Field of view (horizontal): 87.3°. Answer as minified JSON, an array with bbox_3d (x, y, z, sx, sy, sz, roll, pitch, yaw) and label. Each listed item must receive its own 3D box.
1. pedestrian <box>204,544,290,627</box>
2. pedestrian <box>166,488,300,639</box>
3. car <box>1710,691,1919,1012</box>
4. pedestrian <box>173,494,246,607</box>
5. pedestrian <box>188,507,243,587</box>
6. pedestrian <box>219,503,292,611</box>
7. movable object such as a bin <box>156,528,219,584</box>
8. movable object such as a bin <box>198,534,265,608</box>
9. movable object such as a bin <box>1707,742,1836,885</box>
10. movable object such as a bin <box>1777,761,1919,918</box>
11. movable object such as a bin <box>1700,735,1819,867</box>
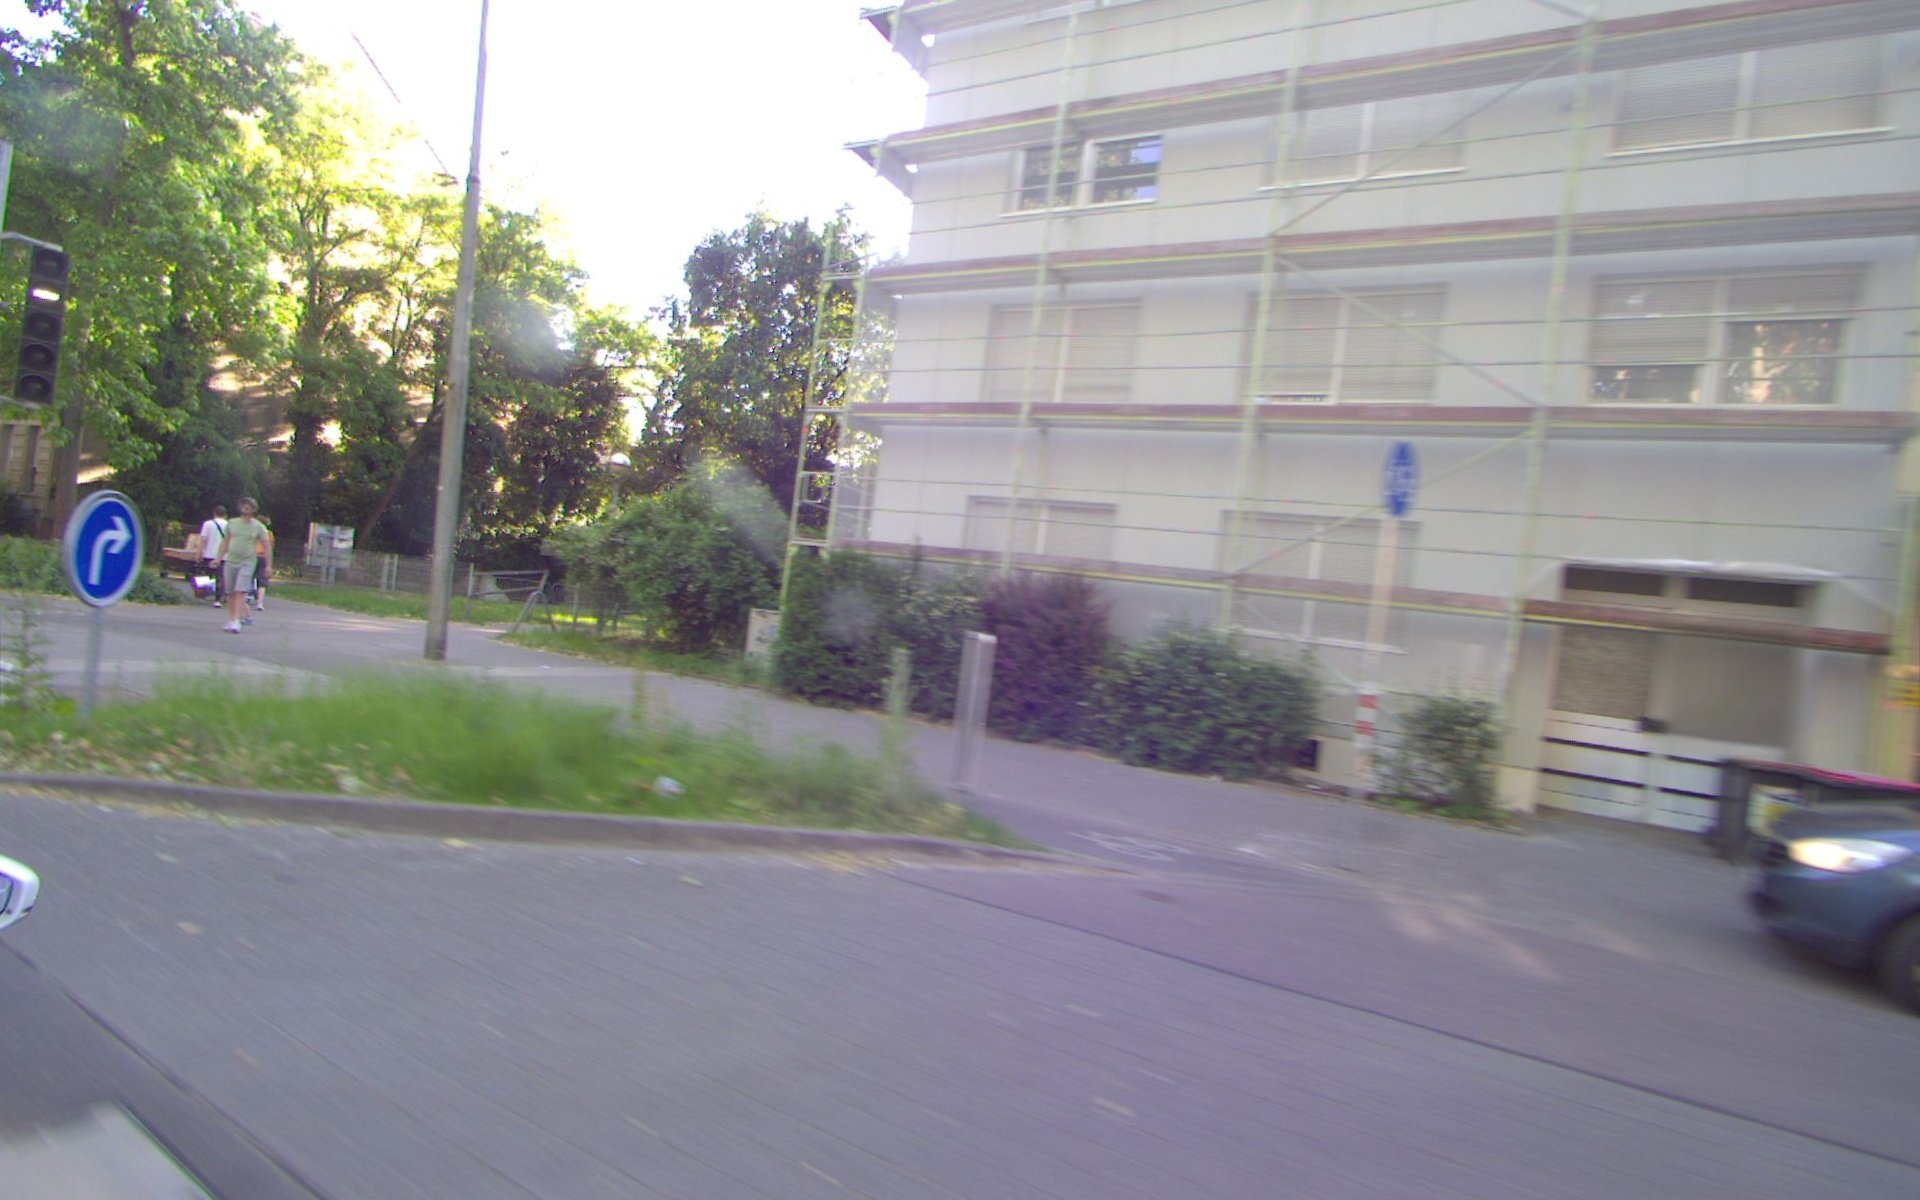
[{"bbox_3d":[-10.781,-0.207,15.225,0.647,1.131,0.677,7,-1,11],"label":"pedestrian"},{"bbox_3d":[-10.093,-0.481,13.994,0.979,1.906,0.871,7,-1,12],"label":"pedestrian"},{"bbox_3d":[7.060,1.674,5.540,4.367,1.642,1.764,8,1,31],"label":"car"},{"bbox_3d":[-12.978,-0.854,17.385,0.841,1.816,0.725,8,2,41],"label":"pedestrian"},{"bbox_3d":[-17.253,-1.221,23.321,0.544,1.745,0.620,7,-1,14],"label":"pedestrian"},{"bbox_3d":[-12.687,-0.783,18.113,0.954,1.816,0.725,8,2,41],"label":"pedestrian"},{"bbox_3d":[-17.978,-1.025,23.431,0.939,1.139,0.668,7,-1,22],"label":"movable object such as a bin"},{"bbox_3d":[-13.424,-0.545,18.532,1.286,1.218,0.638,7,1,41],"label":"movable object such as a bin"},{"bbox_3d":[7.755,2.011,9.660,0.685,1.124,0.882,7,1,28],"label":"movable object such as a bin"},{"bbox_3d":[7.857,2.081,8.910,0.685,1.124,0.882,7,1,28],"label":"movable object such as a bin"},{"bbox_3d":[8.163,2.030,10.319,0.685,1.124,0.882,7,1,28],"label":"movable object such as a bin"}]
